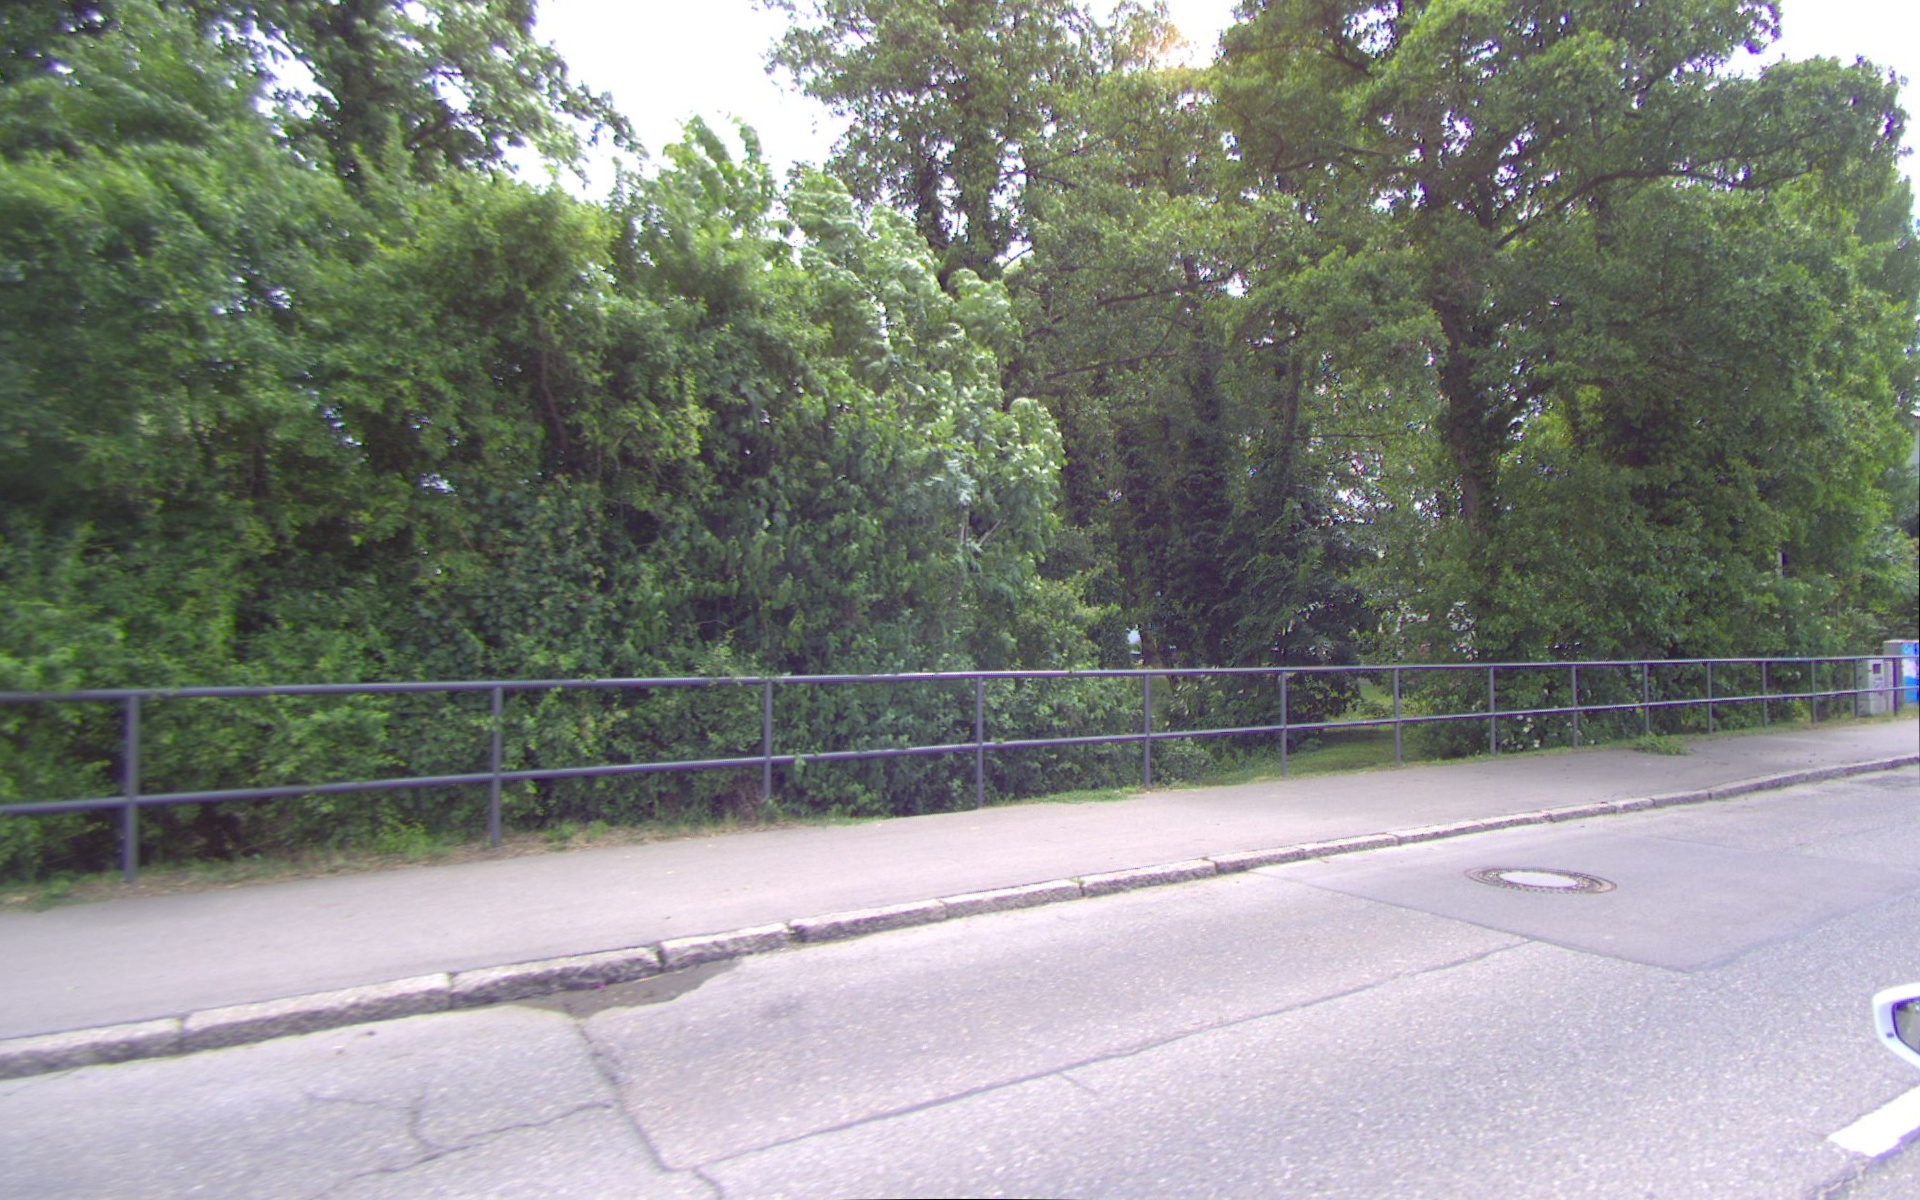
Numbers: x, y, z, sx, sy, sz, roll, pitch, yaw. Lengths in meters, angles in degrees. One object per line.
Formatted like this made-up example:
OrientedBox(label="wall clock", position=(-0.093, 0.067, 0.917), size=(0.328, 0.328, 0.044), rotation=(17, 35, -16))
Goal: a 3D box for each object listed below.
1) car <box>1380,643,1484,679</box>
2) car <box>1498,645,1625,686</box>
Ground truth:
OrientedBox(label="car", position=(21.275, 2.723, 45.450), size=(1.930, 1.499, 3.976), rotation=(1, -2, -24))
OrientedBox(label="car", position=(23.843, 2.570, 39.937), size=(1.819, 1.537, 3.970), rotation=(1, -3, -29))
